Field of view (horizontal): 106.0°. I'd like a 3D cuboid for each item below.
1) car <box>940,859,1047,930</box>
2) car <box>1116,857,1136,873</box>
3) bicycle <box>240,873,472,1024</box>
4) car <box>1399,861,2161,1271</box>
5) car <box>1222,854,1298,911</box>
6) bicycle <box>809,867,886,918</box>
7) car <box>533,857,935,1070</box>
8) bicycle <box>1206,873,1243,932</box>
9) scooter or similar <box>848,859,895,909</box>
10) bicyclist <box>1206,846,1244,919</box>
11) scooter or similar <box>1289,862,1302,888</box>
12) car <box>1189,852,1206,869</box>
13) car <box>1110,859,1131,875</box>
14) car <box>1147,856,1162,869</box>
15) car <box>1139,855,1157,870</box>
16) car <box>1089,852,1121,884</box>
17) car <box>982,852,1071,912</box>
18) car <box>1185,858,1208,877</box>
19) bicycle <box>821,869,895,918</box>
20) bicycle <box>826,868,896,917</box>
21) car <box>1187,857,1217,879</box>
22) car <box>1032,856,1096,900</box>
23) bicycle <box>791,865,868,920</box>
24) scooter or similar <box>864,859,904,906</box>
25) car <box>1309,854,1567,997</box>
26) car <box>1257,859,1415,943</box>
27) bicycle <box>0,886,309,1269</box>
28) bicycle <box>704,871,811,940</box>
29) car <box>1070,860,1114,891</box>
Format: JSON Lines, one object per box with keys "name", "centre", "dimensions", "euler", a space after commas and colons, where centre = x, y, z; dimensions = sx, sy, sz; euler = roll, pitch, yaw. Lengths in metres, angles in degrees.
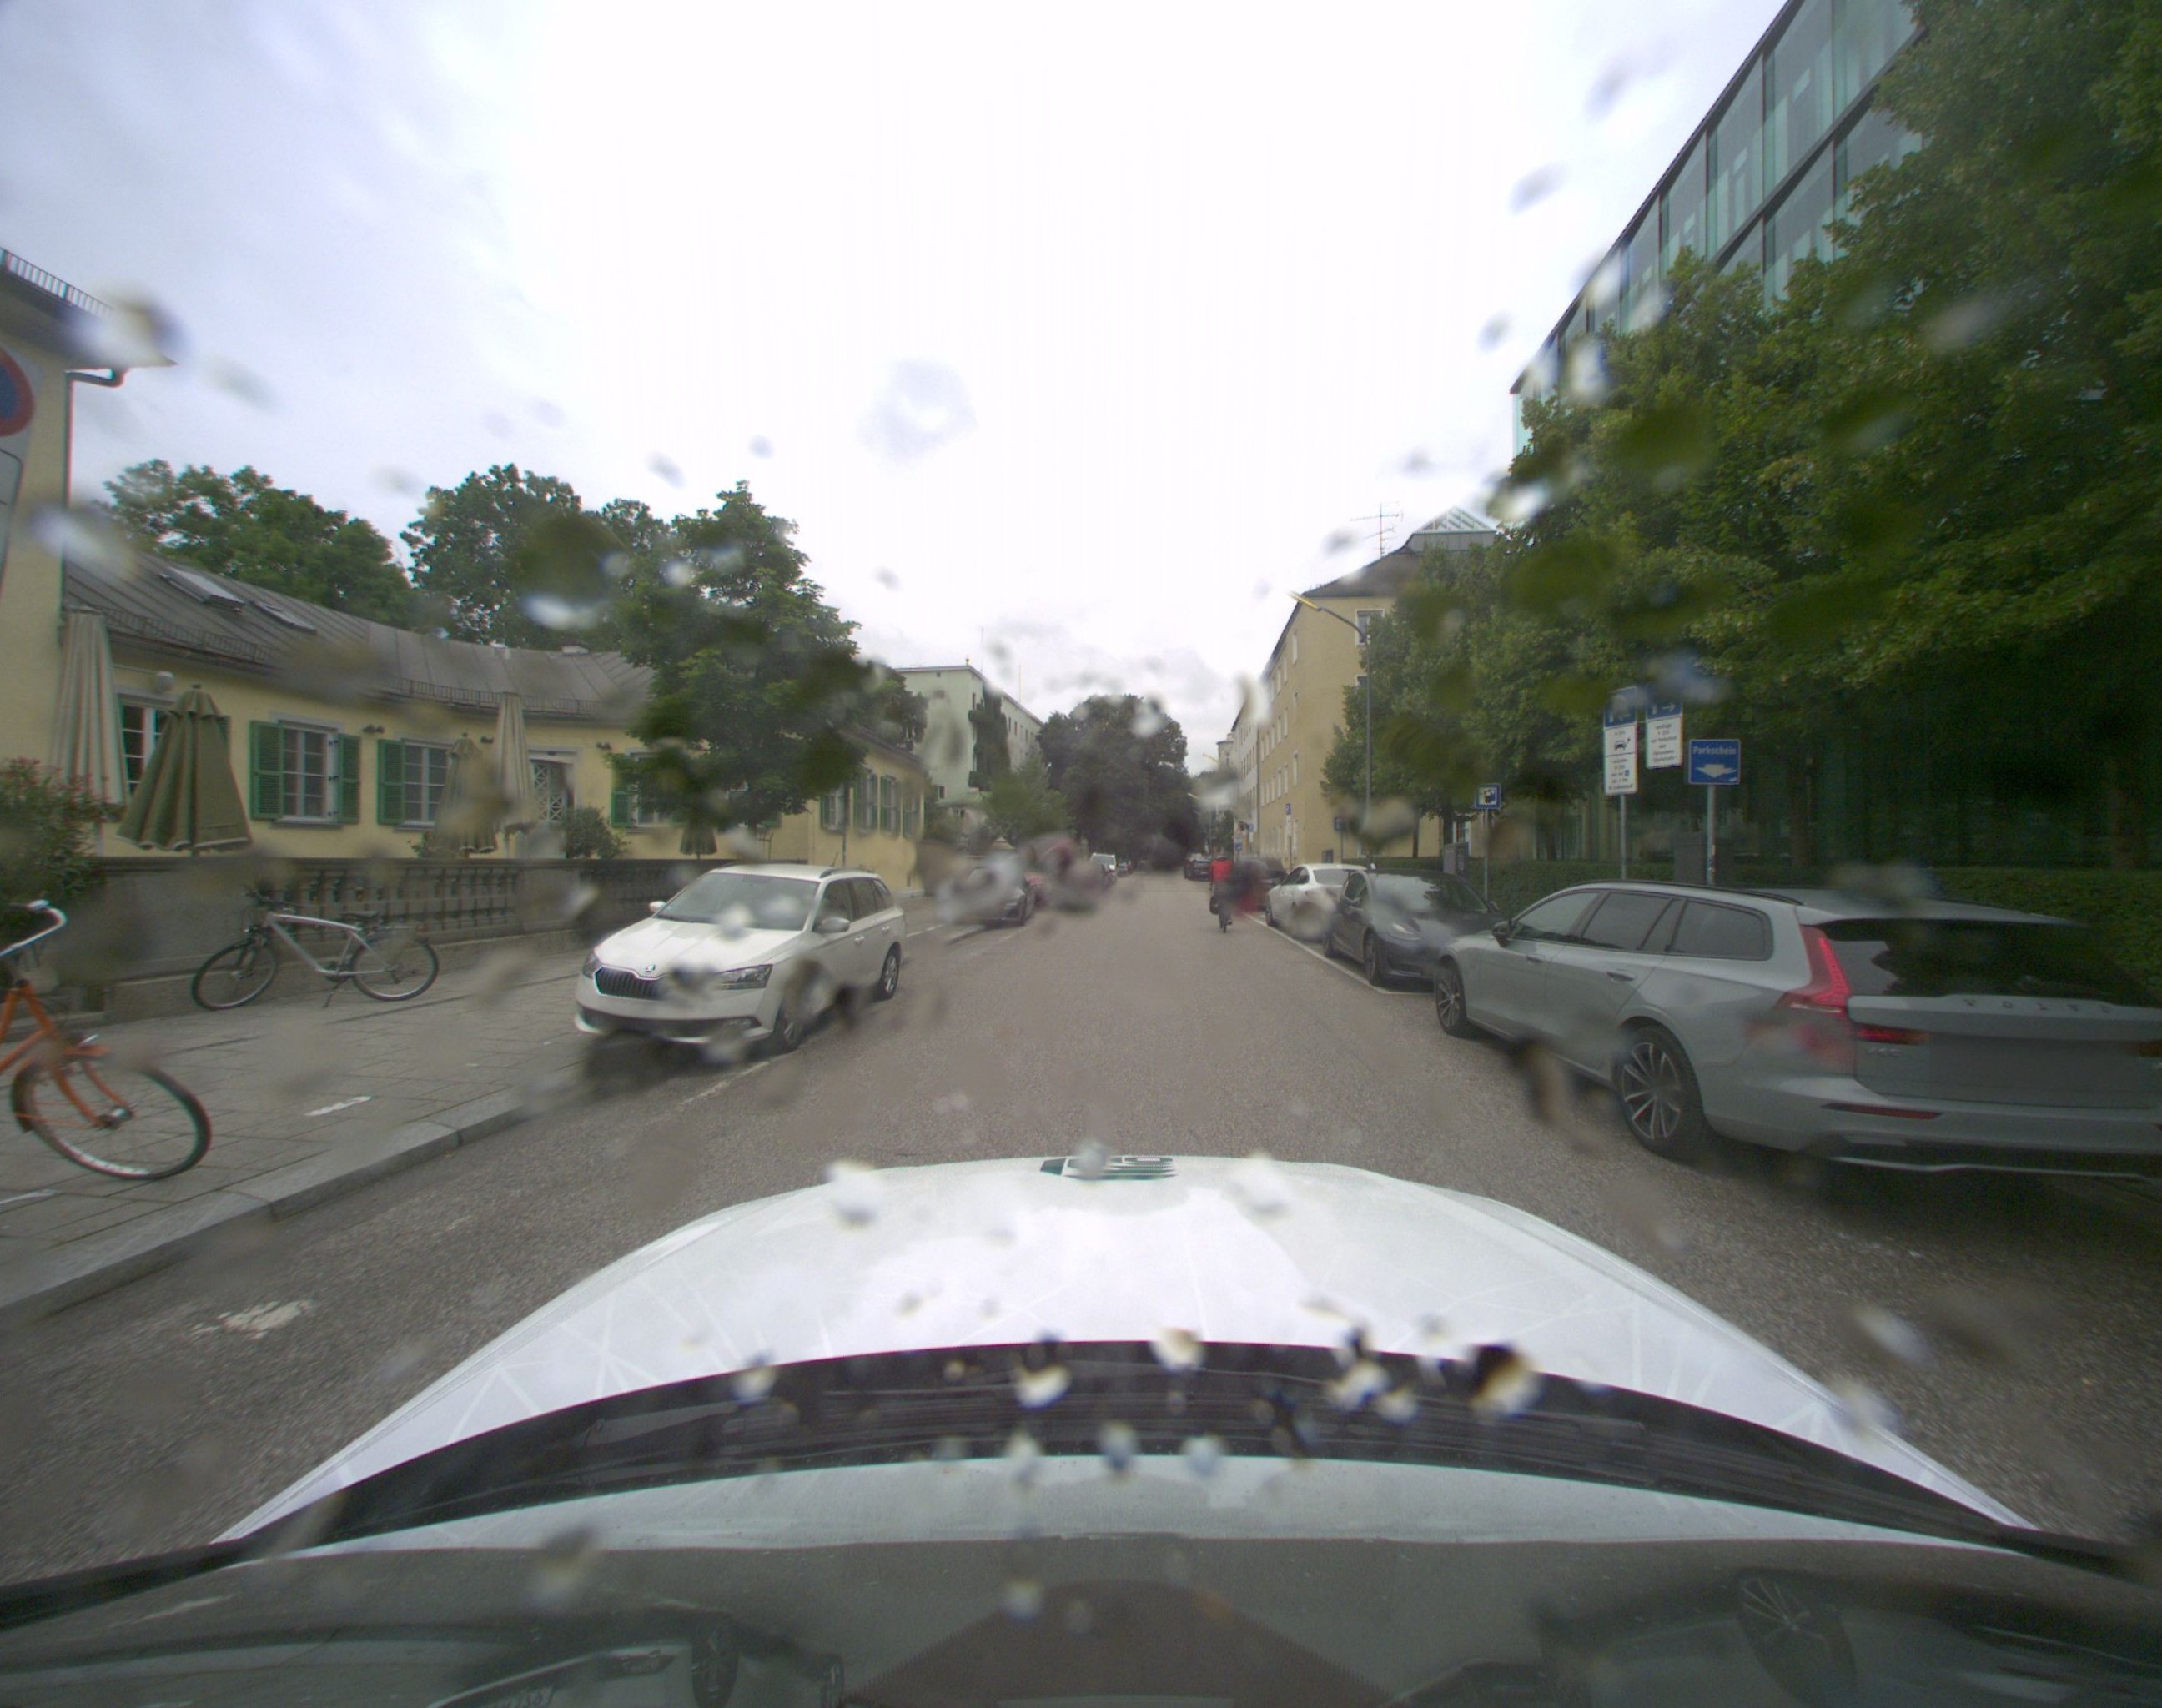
{"name": "car", "centre": [-2.043, 0.916, 20.423], "dimensions": [1.888, 1.519, 4.659], "euler": [1, 0, 3]}
{"name": "car", "centre": [4.724, 1.134, 84.937], "dimensions": [1.877, 1.590, 4.535], "euler": [1, 0, 6]}
{"name": "bicycle", "centre": [-6.747, 0.829, 7.688], "dimensions": [1.575, 1.262, 0.565], "euler": [0, 0, -35]}
{"name": "car", "centre": [4.020, 0.845, 5.675], "dimensions": [1.938, 1.552, 5.010], "euler": [1, 0, 4]}
{"name": "car", "centre": [5.714, 0.847, 26.524], "dimensions": [1.983, 1.631, 5.110], "euler": [1, 0, 7]}
{"name": "bicycle", "centre": [-5.405, 0.886, 18.880], "dimensions": [1.693, 1.172, 0.353], "euler": [0, -1, 3]}
{"name": "car", "centre": [-2.916, 0.797, 8.101], "dimensions": [1.716, 1.492, 4.468], "euler": [1, 0, 5]}
{"name": "bicycle", "centre": [3.017, 0.996, 17.231], "dimensions": [0.668, 1.141, 2.015], "euler": [1, -1, 8]}
{"name": "scooter or similar", "centre": [-5.755, 0.799, 22.447], "dimensions": [0.371, 1.343, 1.361], "euler": [-1, -1, 32]}
{"name": "bicyclist", "centre": [3.038, 0.591, 17.252], "dimensions": [0.750, 1.483, 0.983], "euler": [1, -1, 8]}
{"name": "scooter or similar", "centre": [10.632, 1.034, 40.379], "dimensions": [0.340, 1.255, 1.311], "euler": [-2, -1, 5]}
{"name": "car", "centre": [15.986, 0.937, 112.000], "dimensions": [2.192, 2.208, 4.865], "euler": [-2, -1, 7]}
{"name": "car", "centre": [3.663, 1.214, 75.241], "dimensions": [1.799, 1.402, 4.929], "euler": [1, 0, 4]}
{"name": "car", "centre": [11.304, 1.272, 124.397], "dimensions": [2.172, 1.956, 5.175], "euler": [1, 0, 6]}
{"name": "car", "centre": [9.282, 1.138, 112.818], "dimensions": [2.236, 1.956, 5.462], "euler": [1, 0, 6]}
{"name": "car", "centre": [1.667, 0.903, 54.527], "dimensions": [1.958, 1.990, 5.156], "euler": [1, 0, 4]}
{"name": "car", "centre": [-1.606, 0.825, 25.808], "dimensions": [1.892, 1.692, 4.817], "euler": [1, 0, 7]}
{"name": "car", "centre": [9.696, 1.115, 68.450], "dimensions": [1.828, 1.531, 4.425], "euler": [-1, 0, 7]}
{"name": "bicycle", "centre": [-5.265, 0.926, 19.247], "dimensions": [1.621, 1.137, 0.388], "euler": [0, -1, 3]}
{"name": "bicycle", "centre": [-5.340, 0.919, 19.802], "dimensions": [1.482, 1.149, 0.643], "euler": [0, -1, 7]}
{"name": "car", "centre": [9.329, 1.038, 63.013], "dimensions": [1.852, 1.577, 4.904], "euler": [-1, 0, 4]}
{"name": "car", "centre": [-0.577, 0.895, 32.668], "dimensions": [1.835, 1.607, 4.752], "euler": [1, 0, 7]}
{"name": "bicycle", "centre": [-5.616, 0.845, 18.189], "dimensions": [1.617, 1.173, 0.468], "euler": [0, 0, 13]}
{"name": "scooter or similar", "centre": [-5.723, 0.819, 23.733], "dimensions": [0.360, 1.314, 1.261], "euler": [-1, -1, 30]}
{"name": "car", "centre": [4.670, 0.808, 11.542], "dimensions": [1.952, 1.552, 4.857], "euler": [1, 0, 6]}
{"name": "car", "centre": [5.085, 0.849, 16.992], "dimensions": [1.985, 1.460, 4.961], "euler": [1, 0, 3]}
{"name": "bicycle", "centre": [-4.322, 0.841, 3.205], "dimensions": [0.774, 1.369, 1.701], "euler": [0, 0, 12]}
{"name": "bicycle", "centre": [-5.649, 0.872, 14.255], "dimensions": [1.640, 1.088, 0.631], "euler": [0, 0, -35]}
{"name": "car", "centre": [0.626, 1.109, 43.492], "dimensions": [1.849, 1.544, 4.196], "euler": [-2, -1, 7]}
